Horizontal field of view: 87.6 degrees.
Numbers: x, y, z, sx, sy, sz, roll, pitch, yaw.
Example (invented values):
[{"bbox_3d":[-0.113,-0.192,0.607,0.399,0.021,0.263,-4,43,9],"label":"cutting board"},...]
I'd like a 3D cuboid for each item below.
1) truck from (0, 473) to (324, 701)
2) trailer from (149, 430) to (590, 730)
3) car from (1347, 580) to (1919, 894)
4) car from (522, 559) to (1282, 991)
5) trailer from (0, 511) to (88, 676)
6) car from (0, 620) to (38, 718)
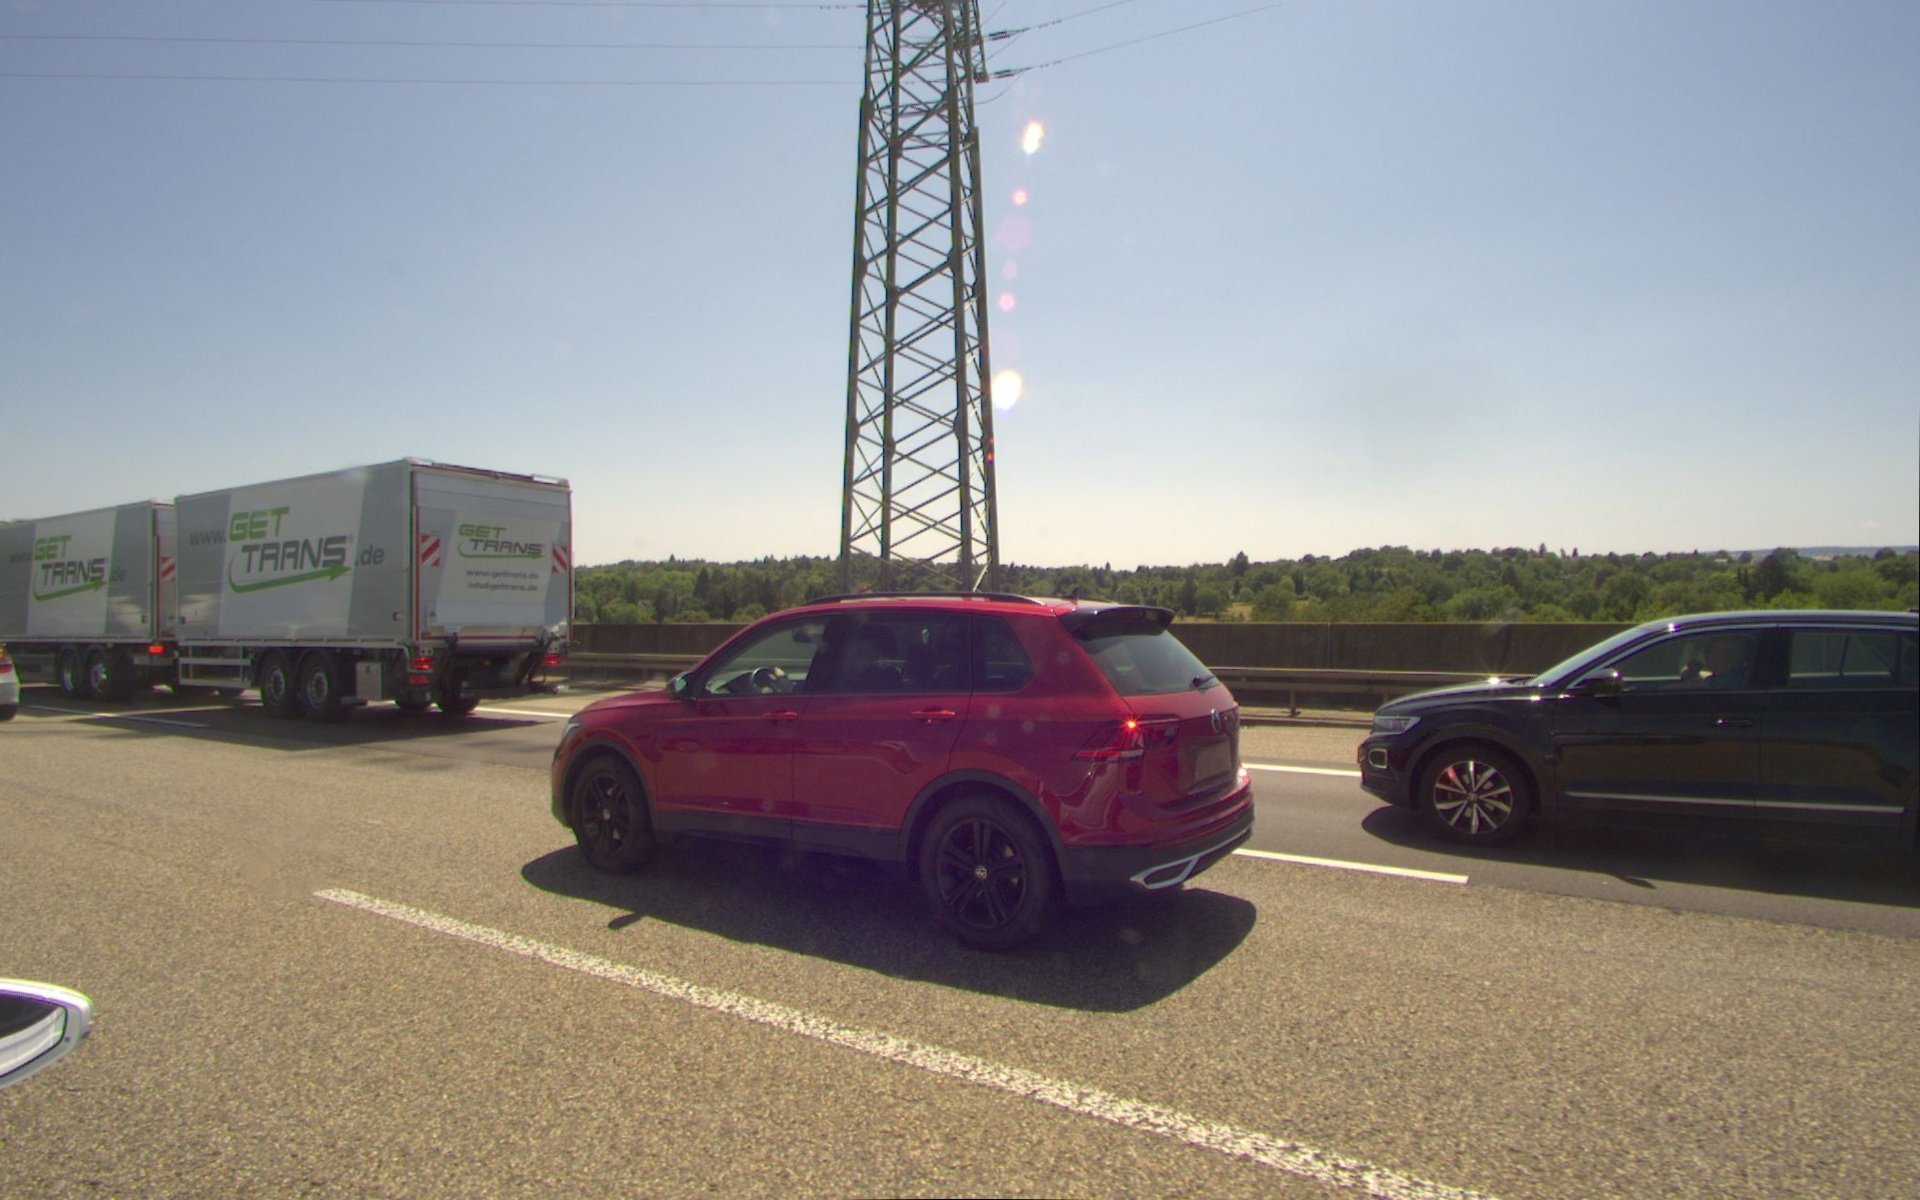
[{"bbox_3d":[-17.821,-0.084,21.471,10.458,3.984,2.847,-1,-2,32],"label":"truck"},{"bbox_3d":[-9.942,-0.142,16.526,8.097,3.941,2.894,-1,-2,32],"label":"trailer"},{"bbox_3d":[4.829,0.775,6.539,4.059,1.676,1.706,-1,-2,32],"label":"car"},{"bbox_3d":[-0.492,0.764,5.819,4.224,1.700,1.706,-1,-2,32],"label":"car"},{"bbox_3d":[-27.637,-0.057,27.742,8.850,4.140,2.679,-1,-2,31],"label":"trailer"},{"bbox_3d":[-16.479,1.079,15.829,3.875,1.489,1.813,-1,-2,31],"label":"car"}]
